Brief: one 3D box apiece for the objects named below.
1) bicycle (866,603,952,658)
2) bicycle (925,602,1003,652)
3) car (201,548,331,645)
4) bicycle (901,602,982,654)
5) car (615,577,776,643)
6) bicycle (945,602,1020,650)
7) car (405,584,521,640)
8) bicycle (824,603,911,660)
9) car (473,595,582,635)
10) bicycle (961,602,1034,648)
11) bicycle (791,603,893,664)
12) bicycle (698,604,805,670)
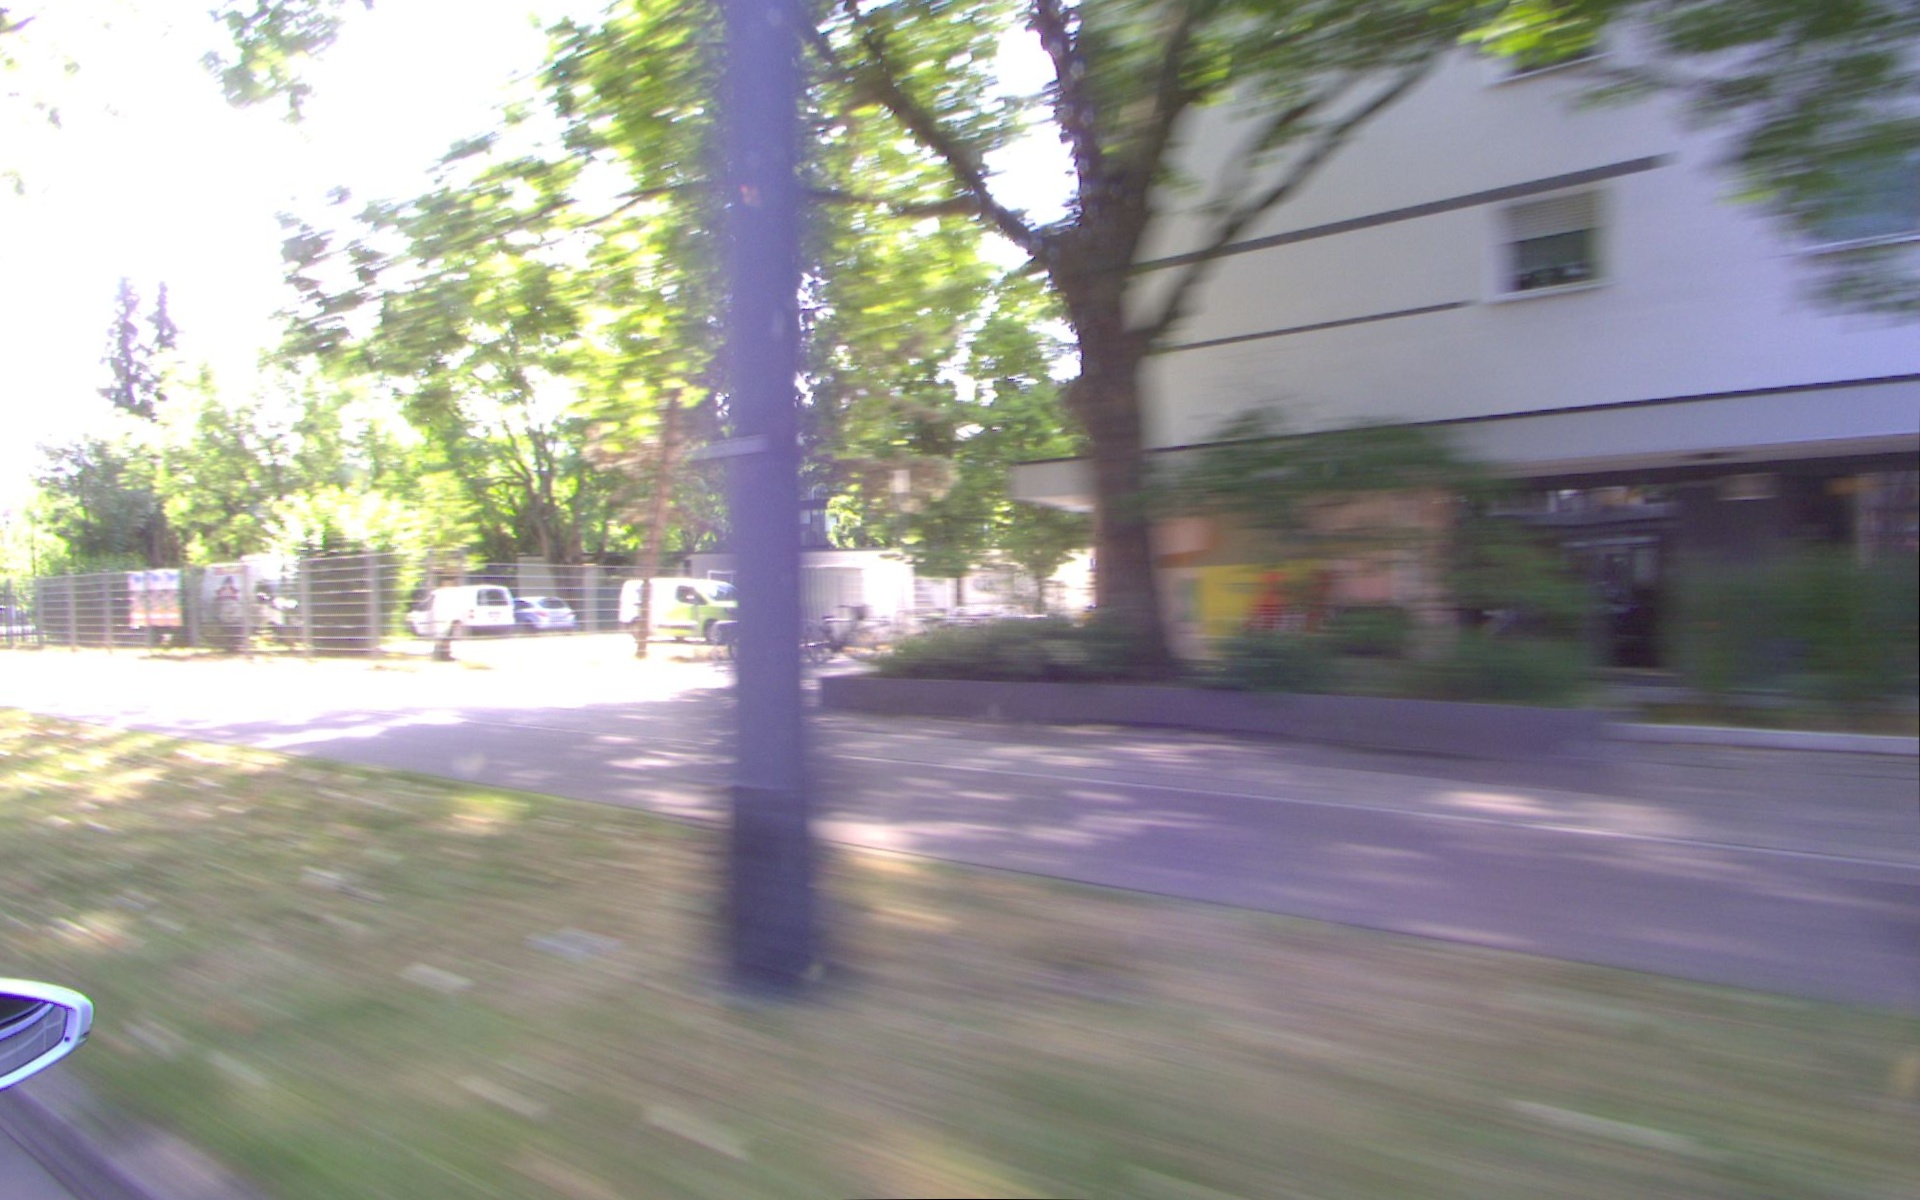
[{"bbox_3d":[-1.048,0.603,20.399,1.699,1.079,0.514,0,1,27],"label":"bicycle"},{"bbox_3d":[0.089,0.598,22.542,1.699,1.079,0.514,0,1,27],"label":"bicycle"},{"bbox_3d":[-21.362,-0.078,30.796,4.218,2.811,1.803,-1,1,33],"label":"car"},{"bbox_3d":[-0.407,0.600,21.636,1.699,1.079,0.514,0,1,27],"label":"bicycle"},{"bbox_3d":[-7.666,0.298,28.891,4.702,1.779,1.733,-1,0,31],"label":"car"},{"bbox_3d":[0.517,0.596,23.373,1.699,1.079,0.514,0,1,27],"label":"bicycle"},{"bbox_3d":[-17.384,0.403,34.991,4.280,1.839,1.802,-1,0,35],"label":"car"},{"bbox_3d":[-1.824,0.610,19.669,1.699,1.079,0.514,0,1,27],"label":"bicycle"},{"bbox_3d":[-16.060,0.539,37.151,3.990,1.421,1.803,-1,0,33],"label":"car"},{"bbox_3d":[0.900,0.595,24.174,1.699,1.079,0.514,0,1,27],"label":"bicycle"},{"bbox_3d":[-2.228,0.614,18.759,1.925,1.099,0.514,0,1,27],"label":"bicycle"},{"bbox_3d":[-3.614,0.628,17.336,1.809,1.087,0.605,0,1,24],"label":"bicycle"}]
